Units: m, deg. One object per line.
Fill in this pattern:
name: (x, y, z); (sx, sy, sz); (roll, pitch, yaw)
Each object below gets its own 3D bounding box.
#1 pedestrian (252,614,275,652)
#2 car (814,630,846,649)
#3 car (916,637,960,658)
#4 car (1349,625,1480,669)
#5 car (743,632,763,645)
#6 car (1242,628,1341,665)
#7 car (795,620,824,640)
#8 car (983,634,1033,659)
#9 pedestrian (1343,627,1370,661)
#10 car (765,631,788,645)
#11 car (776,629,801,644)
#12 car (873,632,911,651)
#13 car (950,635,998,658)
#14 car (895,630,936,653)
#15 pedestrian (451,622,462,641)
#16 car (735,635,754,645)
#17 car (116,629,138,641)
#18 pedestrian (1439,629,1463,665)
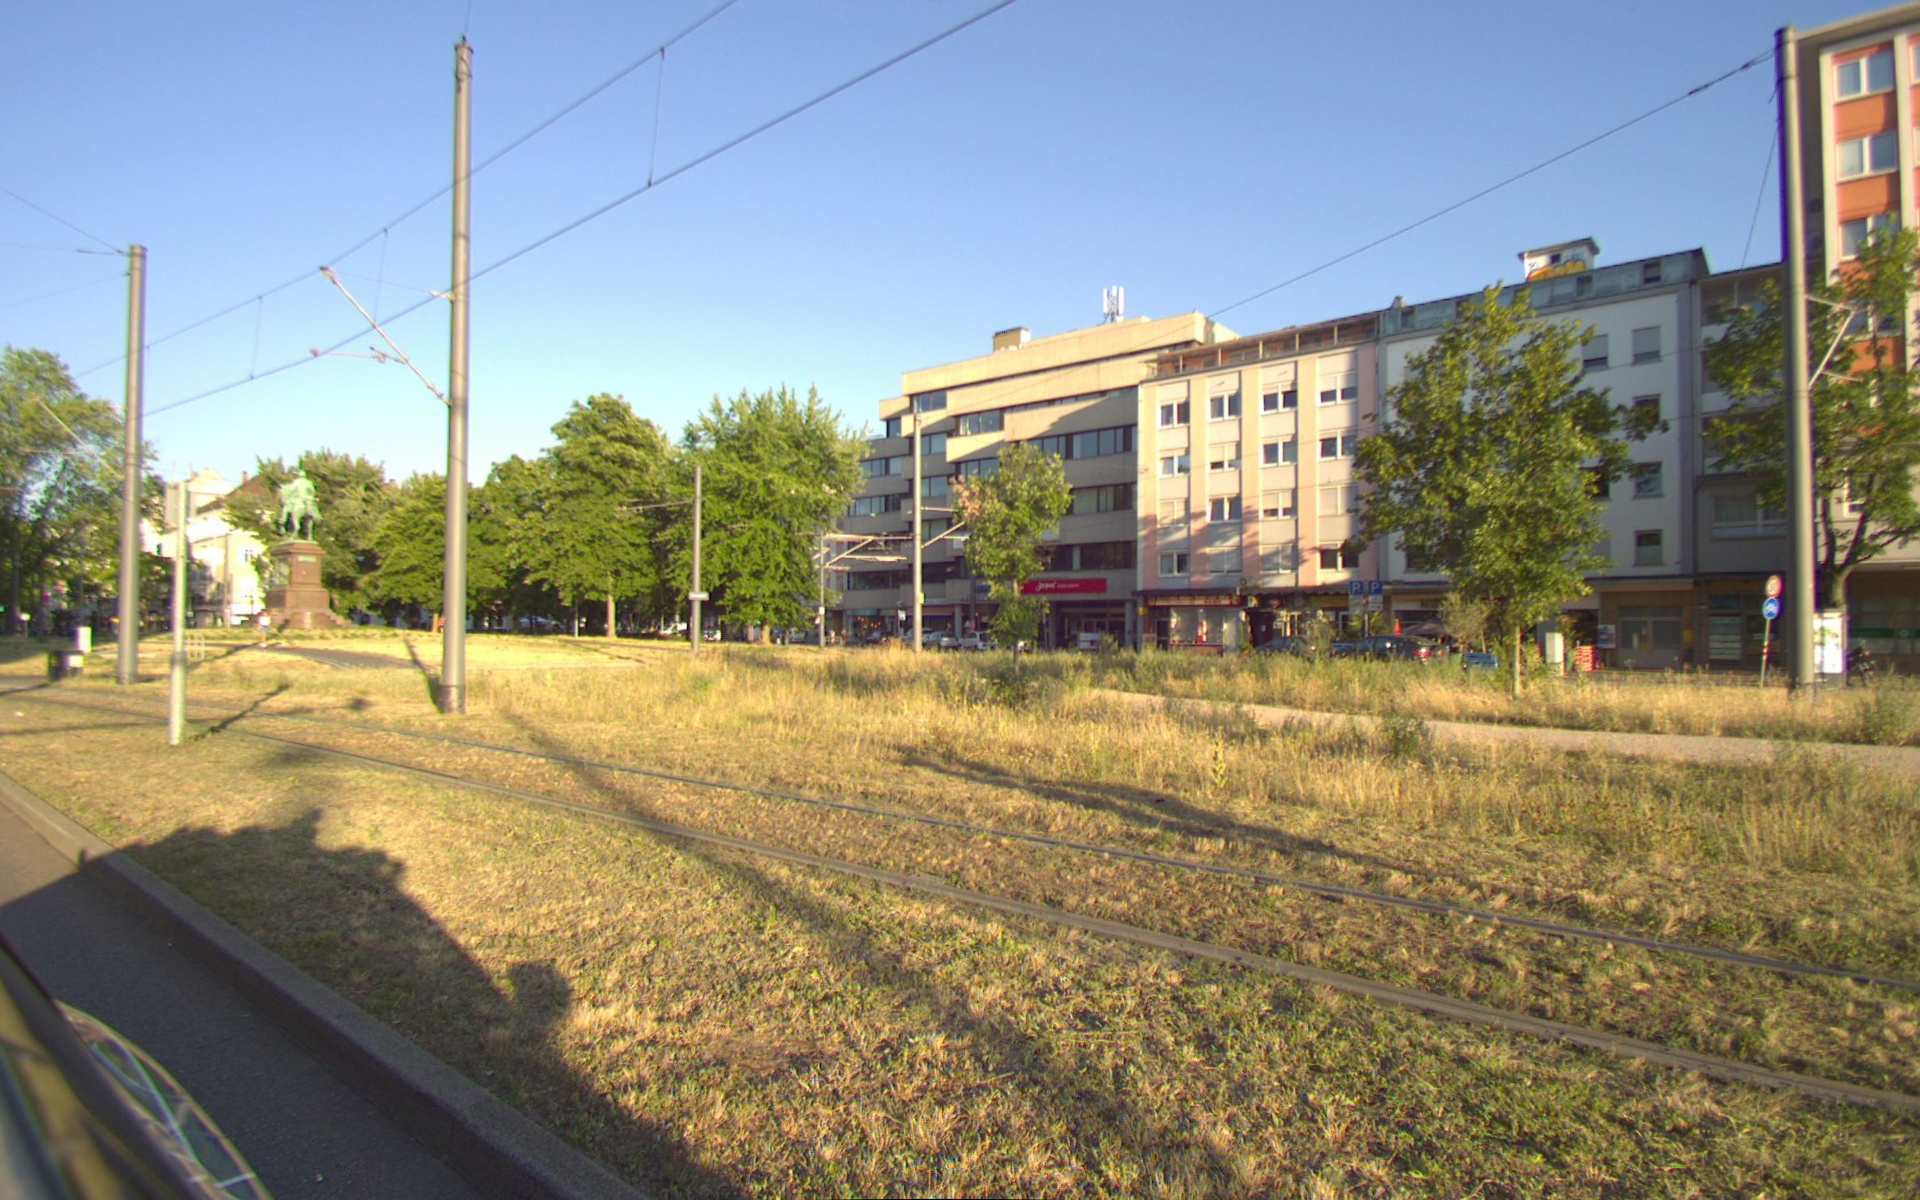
pedestrian: (-31.843, 1.504, 46.270); (0.831, 1.703, 0.472); (-1, -2, 26)
car: (-13.098, 3.957, 101.696); (1.906, 1.808, 4.222); (1, -3, -27)
car: (-1.707, 3.633, 76.914); (1.729, 1.564, 4.012); (1, -3, -27)
car: (16.929, 1.766, 37.950); (1.729, 1.538, 4.305); (1, -3, -27)
car: (-26.881, 5.013, 131.397); (1.766, 1.592, 4.013); (0, -3, -23)
car: (14.448, 2.053, 44.287); (1.729, 1.538, 4.012); (1, -3, -27)
car: (-16.039, 3.216, 107.618); (1.729, 1.959, 4.222); (1, -3, -27)
car: (3.132, 3.075, 66.937); (1.729, 1.564, 4.013); (0, -3, -24)
pedestrian: (18.334, 2.040, 46.763); (0.852, 1.540, 1.107); (-3, -4, 38)
car: (-21.765, 4.477, 119.986); (1.766, 1.592, 4.013); (0, -3, -23)
car: (-19.475, 4.157, 114.972); (1.729, 1.676, 4.012); (1, -3, -27)
car: (-5.898, 3.580, 87.918); (1.833, 1.569, 4.081); (1, -3, -27)
car: (0.935, 3.339, 71.682); (1.729, 1.564, 4.012); (1, -3, -27)
car: (-3.617, 3.383, 82.178); (1.729, 1.808, 4.222); (1, -3, -27)
pedestrian: (-41.756, 2.597, 83.943); (0.553, 1.593, 0.611); (-3, -4, 42)
car: (-29.349, 5.466, 137.969); (1.681, 1.401, 4.013); (1, -3, -25)
car: (-114.826, 4.887, 139.464); (3.965, 1.564, 1.701); (-3, -4, 41)
pedestrian: (21.323, 2.049, 43.948); (0.730, 1.540, 0.685); (-3, -4, 38)
